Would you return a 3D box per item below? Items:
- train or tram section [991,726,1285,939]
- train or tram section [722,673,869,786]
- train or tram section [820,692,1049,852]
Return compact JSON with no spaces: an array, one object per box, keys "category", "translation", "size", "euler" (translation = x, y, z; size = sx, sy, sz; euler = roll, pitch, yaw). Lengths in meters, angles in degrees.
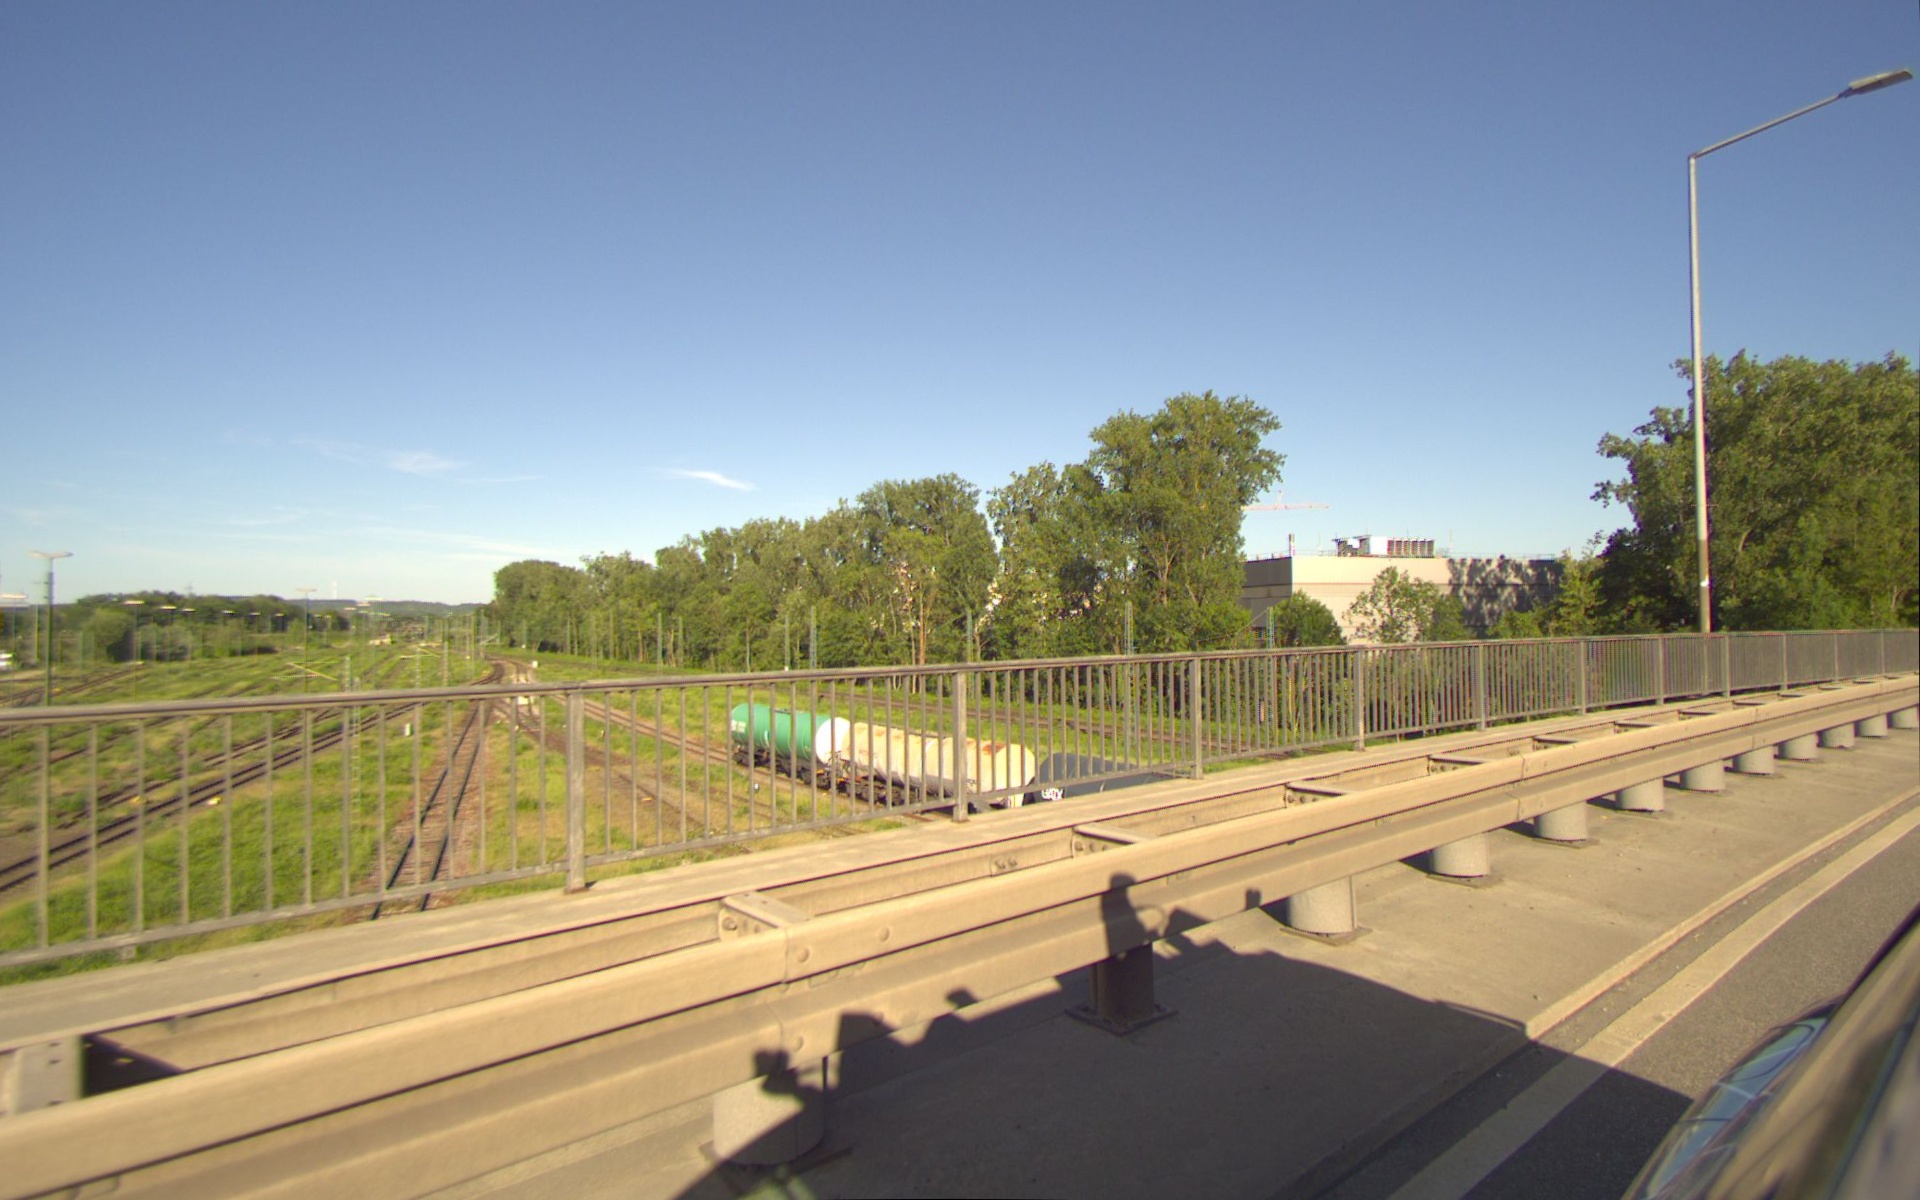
[{"category":"train or tram section","translation":[6.430,8.581,40.220],"size":[3.273,5.331,13.088],"euler":[0,1,-34]},{"category":"train or tram section","translation":[-11.082,8.007,65.893],"size":[3.273,5.248,15.183],"euler":[0,1,-34]},{"category":"train or tram section","translation":[-2.019,8.303,52.637],"size":[3.273,5.327,16.885],"euler":[0,1,-34]}]
